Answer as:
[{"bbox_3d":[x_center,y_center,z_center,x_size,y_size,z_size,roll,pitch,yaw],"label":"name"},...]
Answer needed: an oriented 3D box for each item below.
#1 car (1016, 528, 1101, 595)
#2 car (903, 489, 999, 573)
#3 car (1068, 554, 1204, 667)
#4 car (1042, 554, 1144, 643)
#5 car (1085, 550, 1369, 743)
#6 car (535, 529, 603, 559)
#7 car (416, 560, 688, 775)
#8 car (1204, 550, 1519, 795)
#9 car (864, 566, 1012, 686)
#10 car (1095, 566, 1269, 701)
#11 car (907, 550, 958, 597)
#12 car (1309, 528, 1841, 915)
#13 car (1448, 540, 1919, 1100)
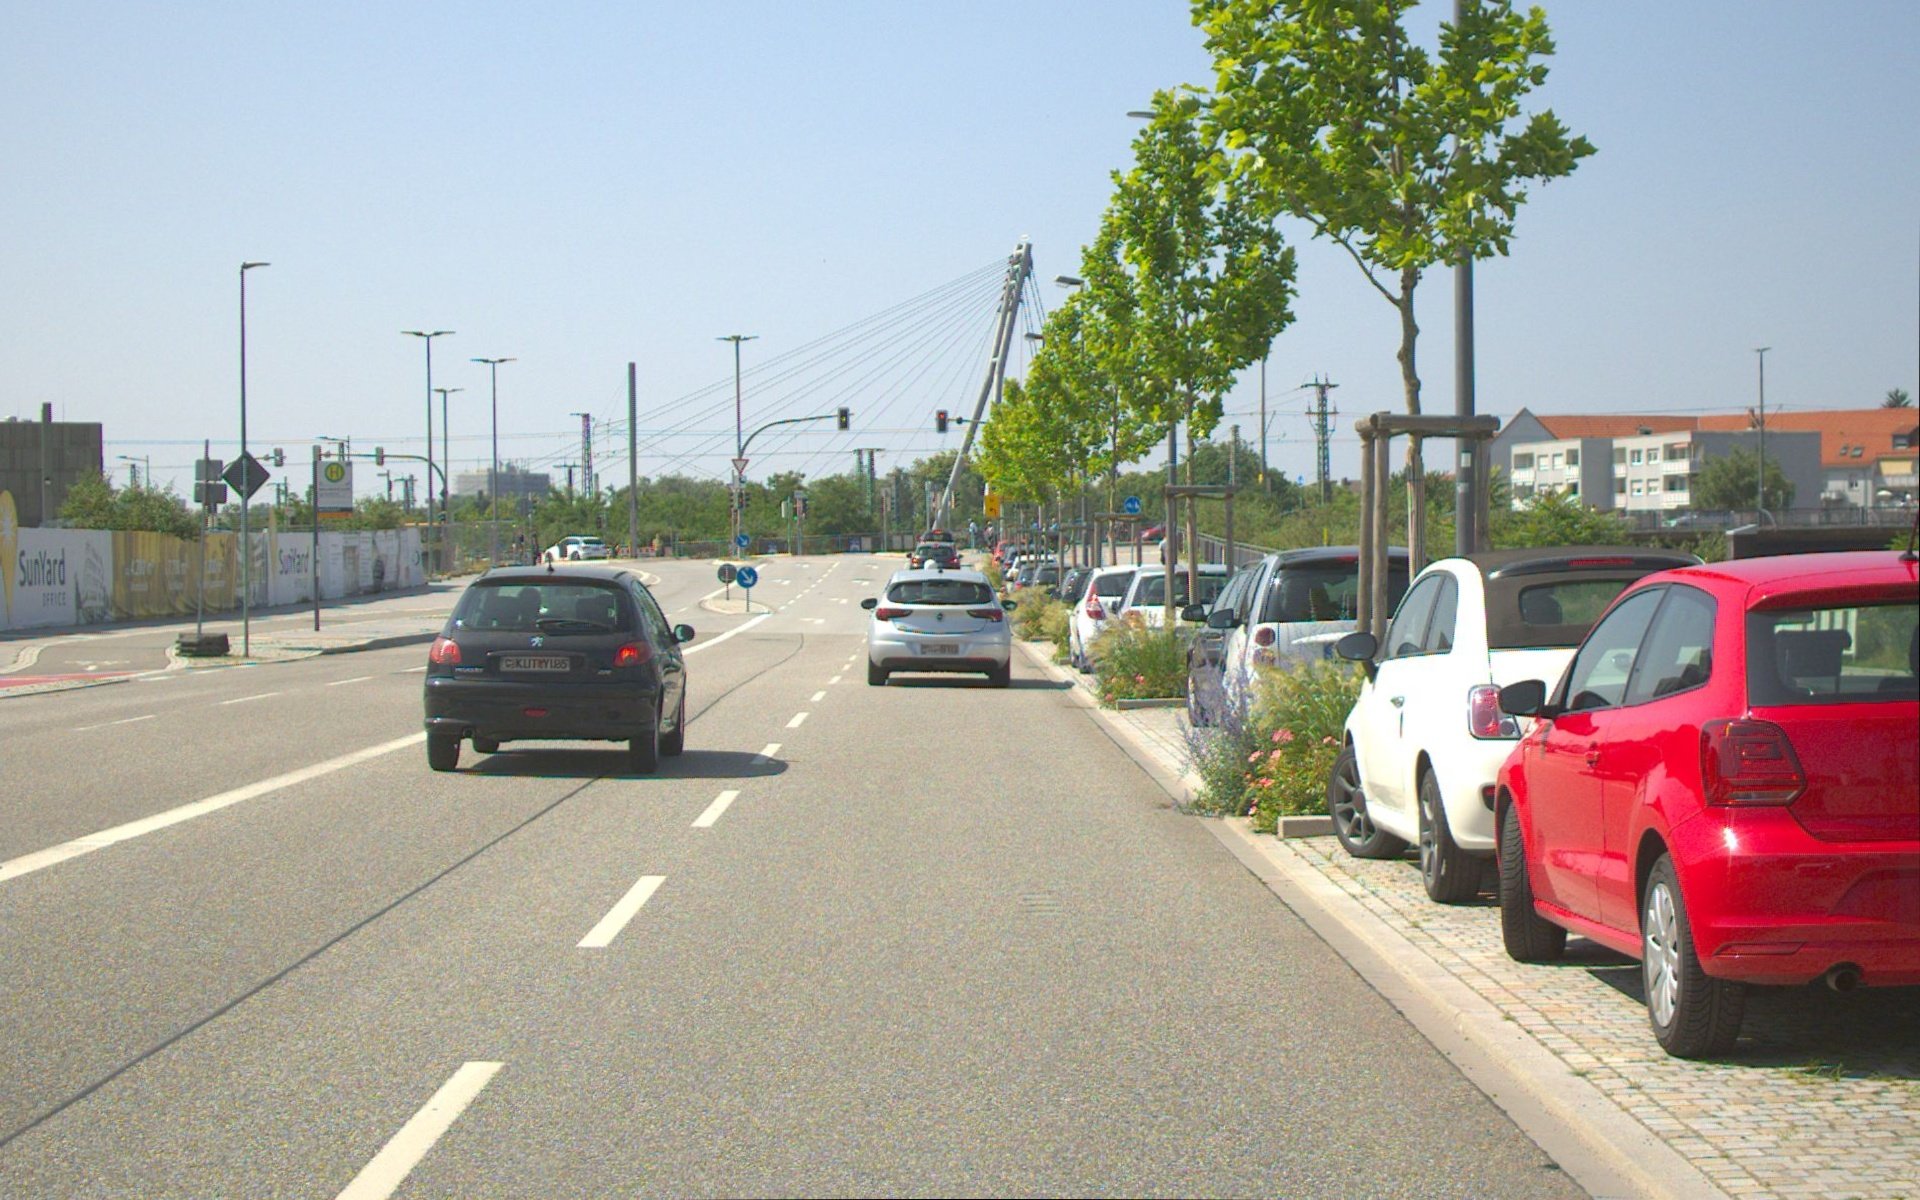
[{"bbox_3d":[2.303,-0.895,81.301,1.704,1.458,3.954,-2,0,-2],"label":"car"},{"bbox_3d":[-0.171,-1.348,66.327,1.778,1.563,4.000,0,2,0],"label":"car"},{"bbox_3d":[2.448,0.117,48.575,1.746,1.504,4.001,-1,1,1],"label":"car"},{"bbox_3d":[2.288,-0.047,59.777,1.704,1.457,4.085,-1,1,2],"label":"car"},{"bbox_3d":[2.210,0.382,29.580,1.789,1.472,4.372,-2,0,-4],"label":"car"},{"bbox_3d":[-22.611,-3.245,198.820,1.855,1.644,3.998,1,1,-44],"label":"car"},{"bbox_3d":[-2.908,0.435,25.144,1.619,1.411,3.727,-1,1,-1],"label":"car"},{"bbox_3d":[2.729,0.445,24.197,1.908,1.572,4.157,0,1,3],"label":"car"},{"bbox_3d":[-0.250,0.299,43.748,1.778,1.437,4.000,1,0,0],"label":"car"},{"bbox_3d":[2.535,0.354,39.906,1.908,1.474,4.157,0,1,3],"label":"car"},{"bbox_3d":[-0.951,-0.964,122.312,1.778,1.563,4.000,0,2,0],"label":"car"},{"bbox_3d":[2.700,0.526,15.876,1.717,1.519,3.642,-2,-1,0],"label":"car"},{"bbox_3d":[2.778,0.571,11.253,1.717,1.446,4.000,1,2,-1],"label":"car"}]
